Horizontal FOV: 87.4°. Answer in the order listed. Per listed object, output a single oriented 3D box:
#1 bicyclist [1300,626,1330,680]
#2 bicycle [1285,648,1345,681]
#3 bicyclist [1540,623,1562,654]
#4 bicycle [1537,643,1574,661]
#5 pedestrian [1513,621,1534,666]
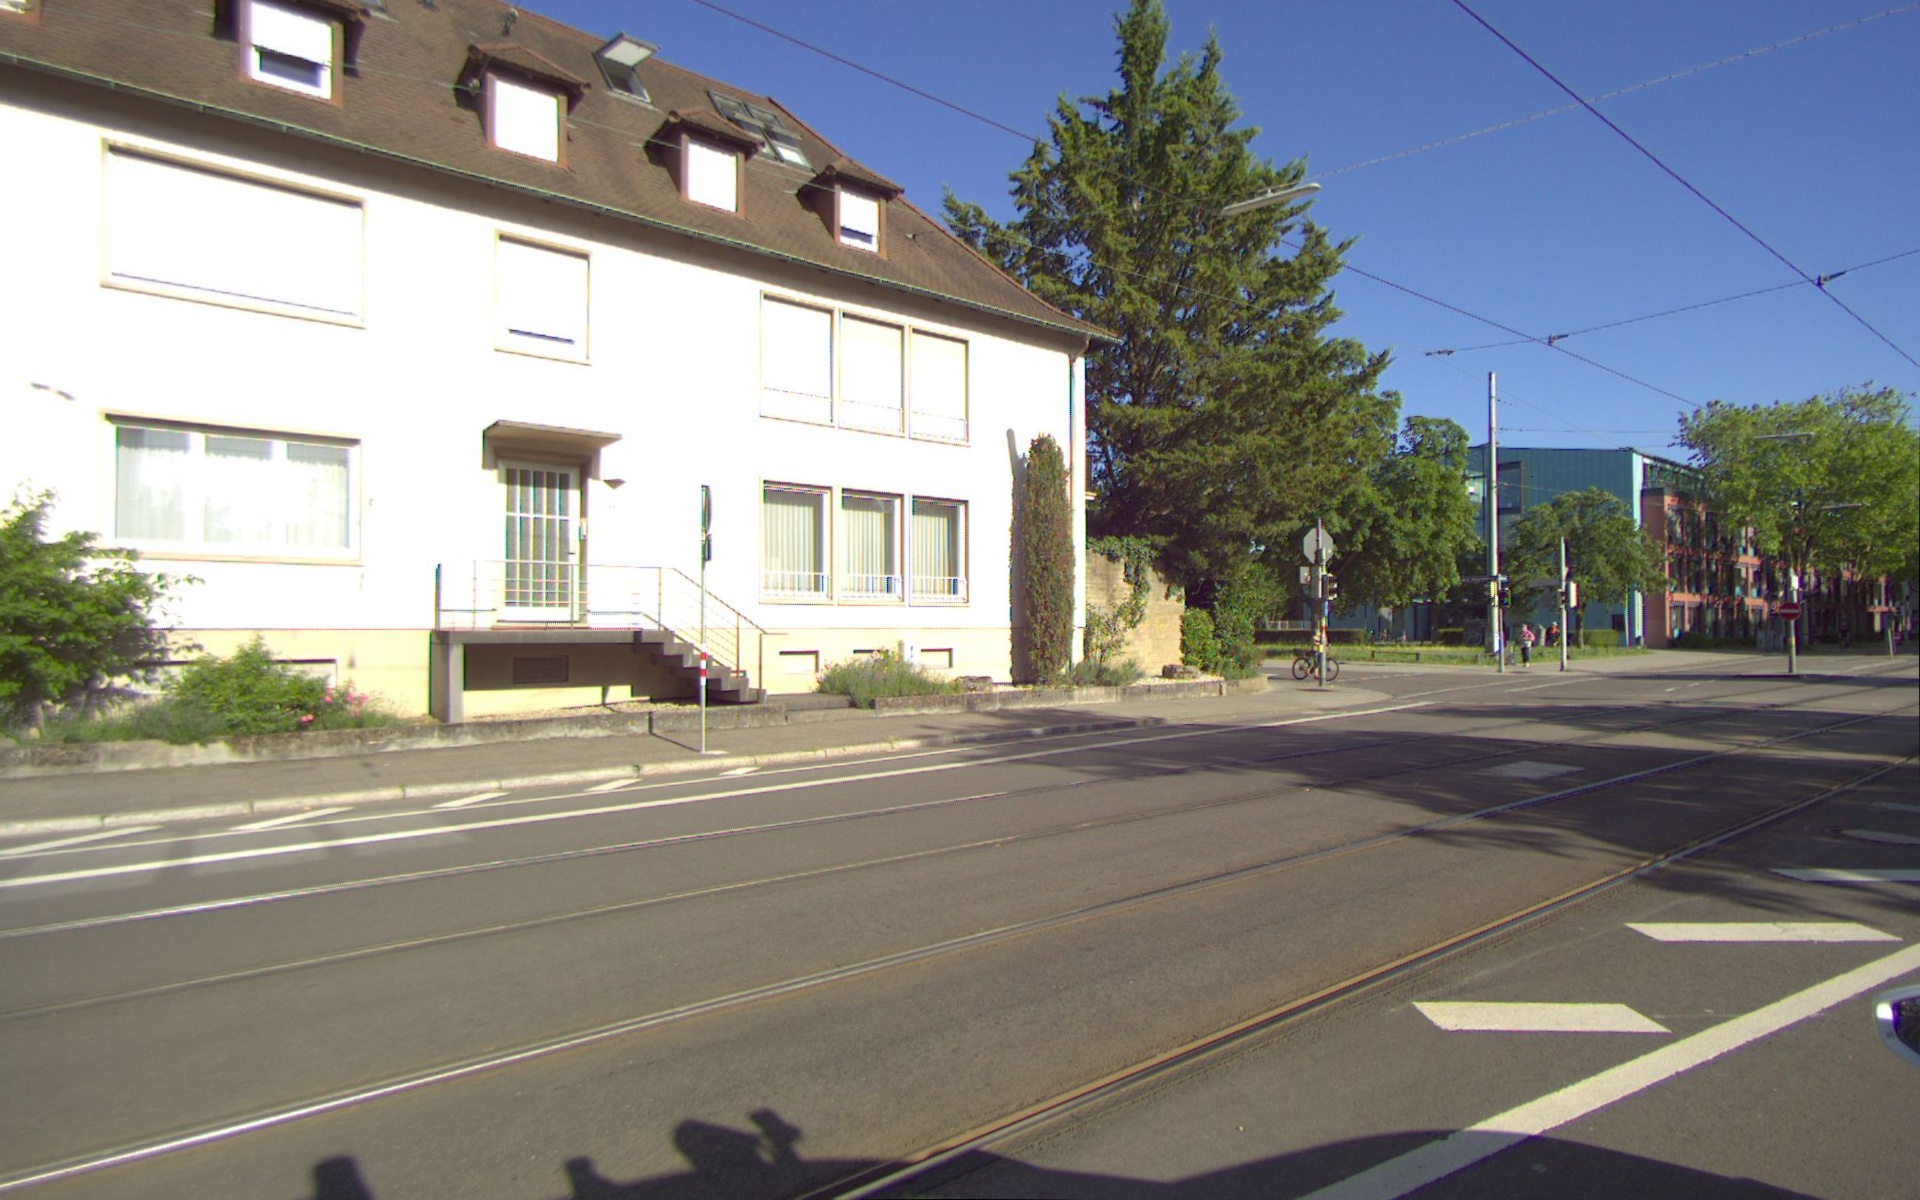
[{"bbox_3d":[11.385,1.698,32.222,0.531,1.707,0.676,0,-2,-30],"label":"bicyclist"},{"bbox_3d":[11.370,2.049,32.237,0.531,1.028,1.937,0,-2,-30],"label":"bicycle"},{"bbox_3d":[36.874,2.419,62.672,1.082,1.909,0.450,-1,-2,17],"label":"bicyclist"},{"bbox_3d":[37.049,3.251,62.527,1.879,1.120,0.563,-1,-2,18],"label":"bicycle"},{"bbox_3d":[21.913,1.685,39.044,0.601,1.712,0.731,2,1,34],"label":"pedestrian"}]
